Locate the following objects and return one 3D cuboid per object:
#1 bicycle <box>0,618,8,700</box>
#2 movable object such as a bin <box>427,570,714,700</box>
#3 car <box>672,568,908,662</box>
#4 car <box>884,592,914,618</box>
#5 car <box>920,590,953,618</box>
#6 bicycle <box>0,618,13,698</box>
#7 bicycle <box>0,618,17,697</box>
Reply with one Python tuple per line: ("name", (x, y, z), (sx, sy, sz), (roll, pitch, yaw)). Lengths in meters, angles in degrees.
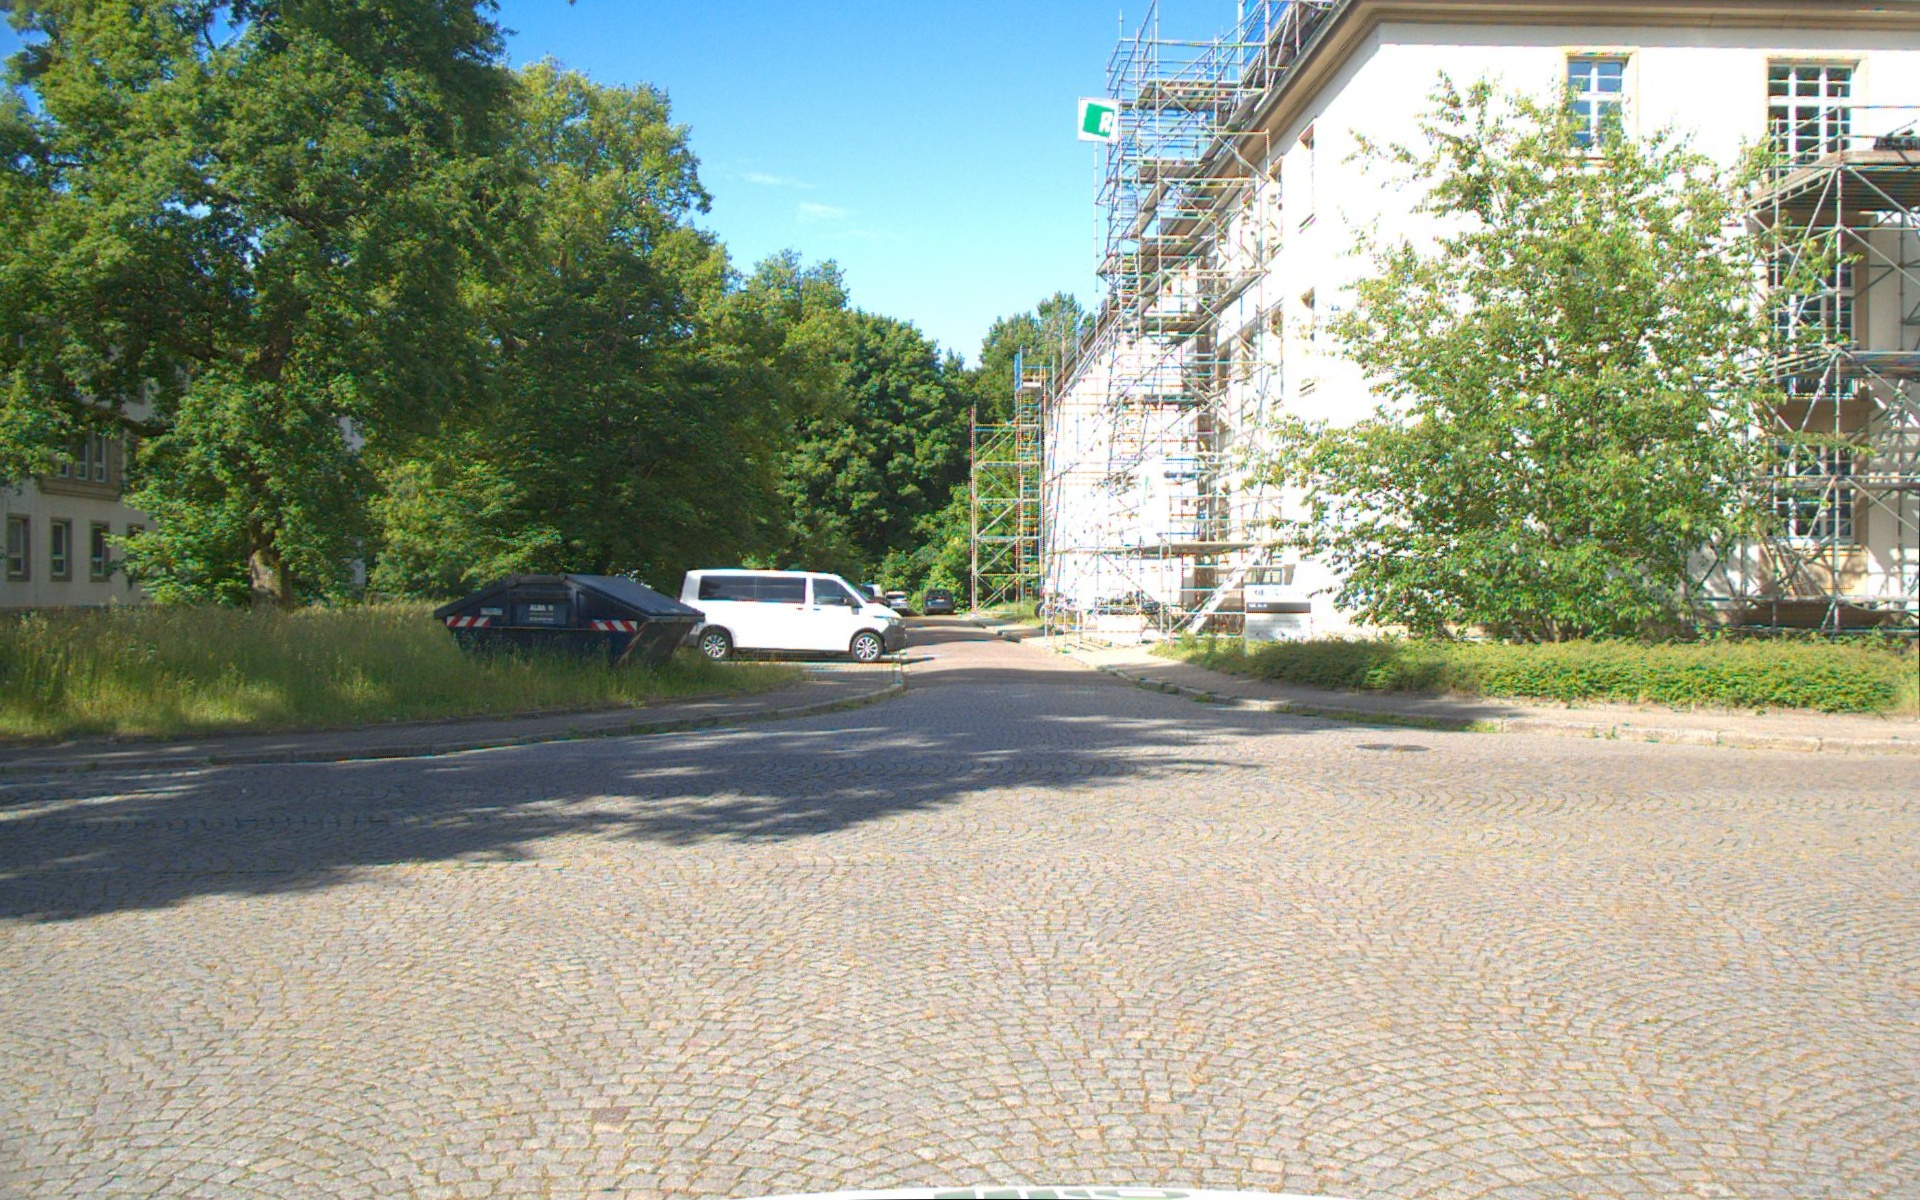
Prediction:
("bicycle", (-13.639, 0.823, 21.715), (1.888, 1.076, 0.472), (-2, 1, -24))
("movable object such as a bin", (-5.603, 0.491, 23.970), (3.490, 1.775, 2.026), (-1, 0, 16))
("car", (-3.761, 0.318, 37.166), (5.130, 2.051, 1.949), (0, 0, -3))
("car", (-3.818, 0.301, 103.220), (1.776, 1.607, 4.132), (-1, 0, -3))
("car", (-1.477, 0.227, 103.635), (1.931, 1.697, 4.084), (-1, 0, -3))
("bicycle", (-13.838, 0.824, 22.171), (1.888, 1.076, 0.472), (-2, 1, -24))
("bicycle", (-14.015, 0.823, 22.601), (1.888, 1.076, 0.472), (-2, 1, -24))
